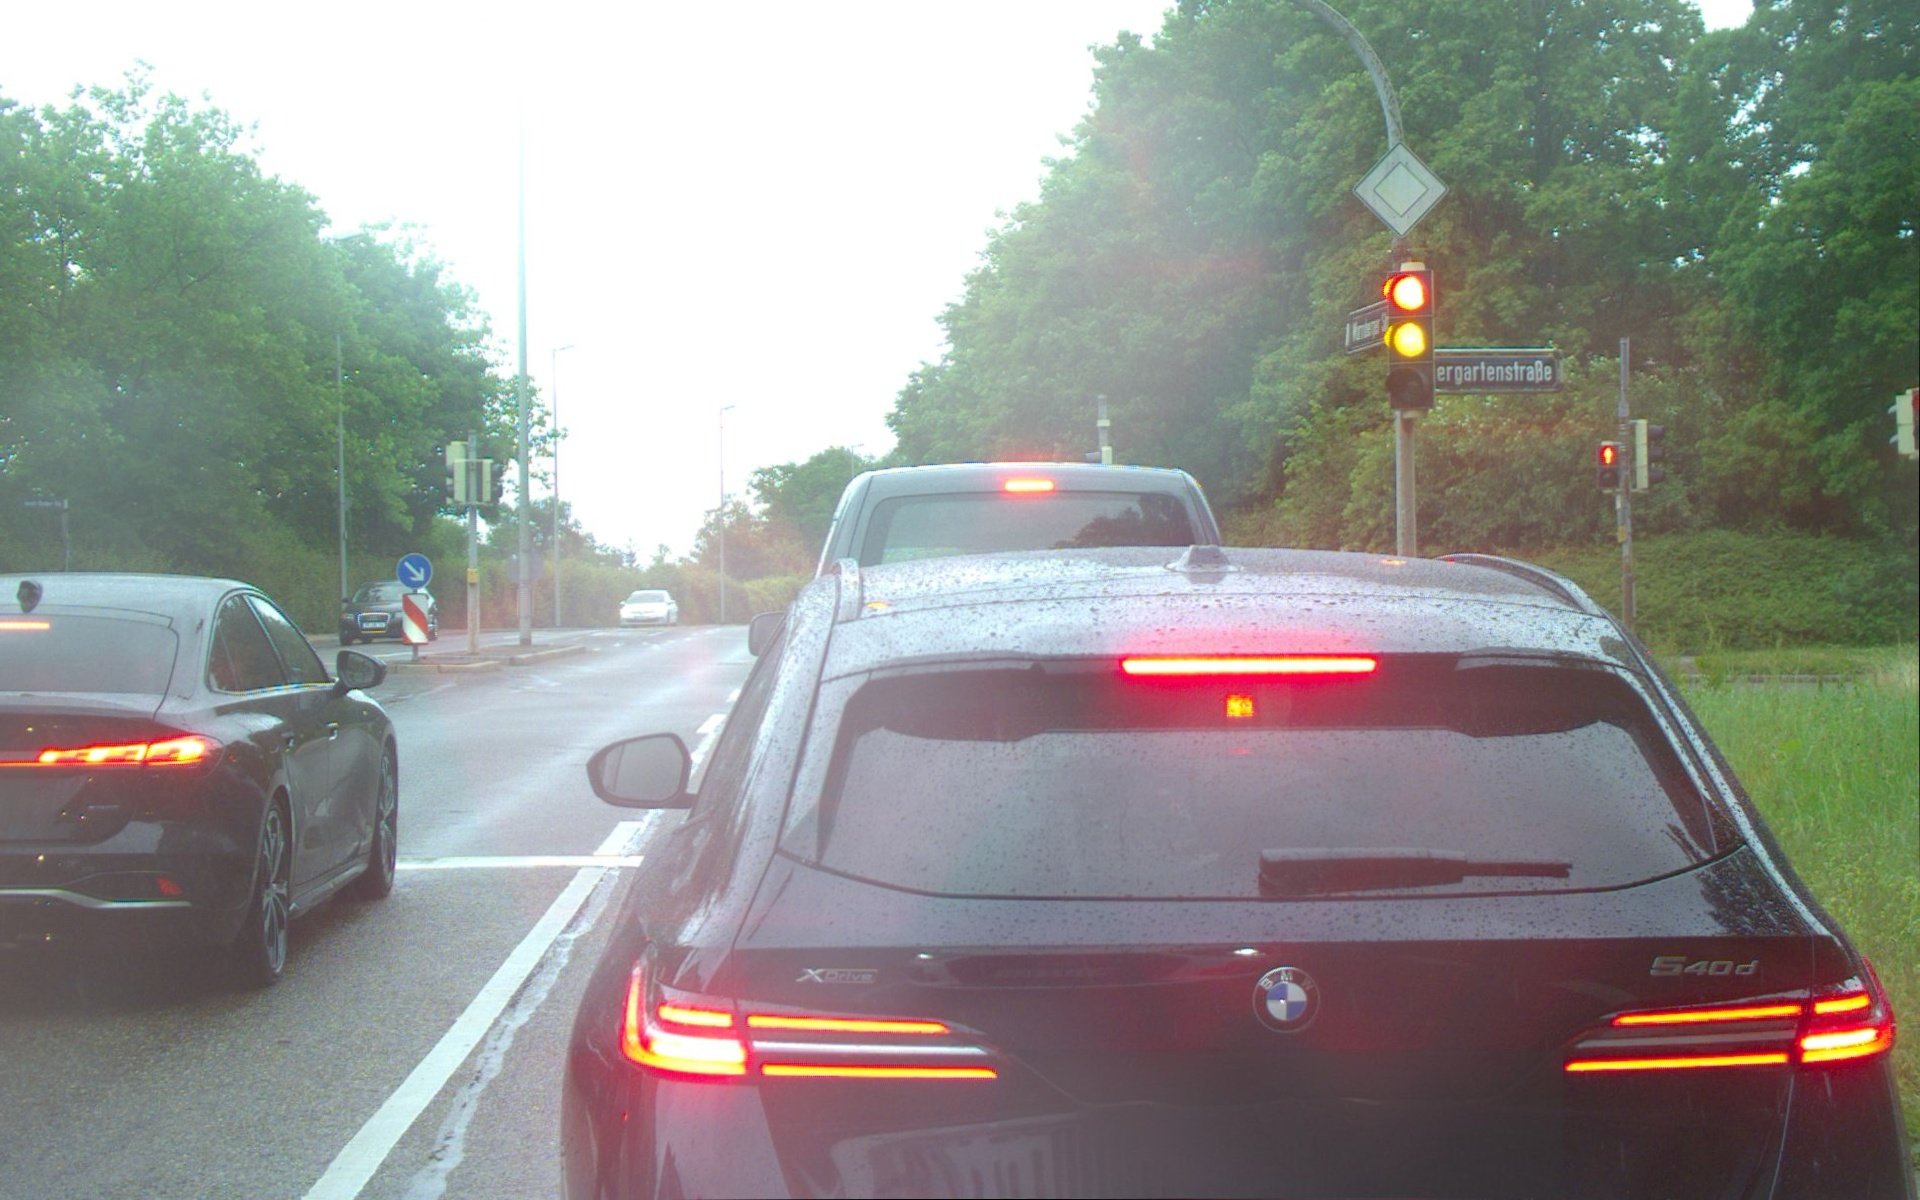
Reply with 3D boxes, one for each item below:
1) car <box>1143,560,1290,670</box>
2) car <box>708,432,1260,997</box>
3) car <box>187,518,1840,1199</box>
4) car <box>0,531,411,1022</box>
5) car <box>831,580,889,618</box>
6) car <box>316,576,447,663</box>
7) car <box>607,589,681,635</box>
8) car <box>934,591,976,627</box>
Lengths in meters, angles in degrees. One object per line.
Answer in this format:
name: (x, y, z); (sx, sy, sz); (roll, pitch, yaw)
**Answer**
car: (3.867, 0.207, 52.416); (1.873, 1.537, 3.952); (-2, 0, 0)
car: (0.076, 0.366, 13.349); (1.818, 1.862, 3.952); (0, 0, 0)
car: (0.166, 0.690, 6.257); (1.898, 1.546, 4.614); (0, 0, 3)
car: (-3.363, 0.572, 13.043); (1.993, 1.522, 4.328); (-2, 0, -3)
car: (-4.891, -0.060, 168.218); (2.106, 1.759, 4.867); (-2, 0, 6)
car: (-12.965, 0.422, 77.225); (1.994, 1.820, 4.000); (-2, 0, 3)
car: (-11.810, 0.422, 128.731); (1.994, 1.605, 3.671); (-2, 0, 6)
car: (-0.223, 0.367, 146.666); (1.697, 1.422, 3.514); (-2, 0, 0)
